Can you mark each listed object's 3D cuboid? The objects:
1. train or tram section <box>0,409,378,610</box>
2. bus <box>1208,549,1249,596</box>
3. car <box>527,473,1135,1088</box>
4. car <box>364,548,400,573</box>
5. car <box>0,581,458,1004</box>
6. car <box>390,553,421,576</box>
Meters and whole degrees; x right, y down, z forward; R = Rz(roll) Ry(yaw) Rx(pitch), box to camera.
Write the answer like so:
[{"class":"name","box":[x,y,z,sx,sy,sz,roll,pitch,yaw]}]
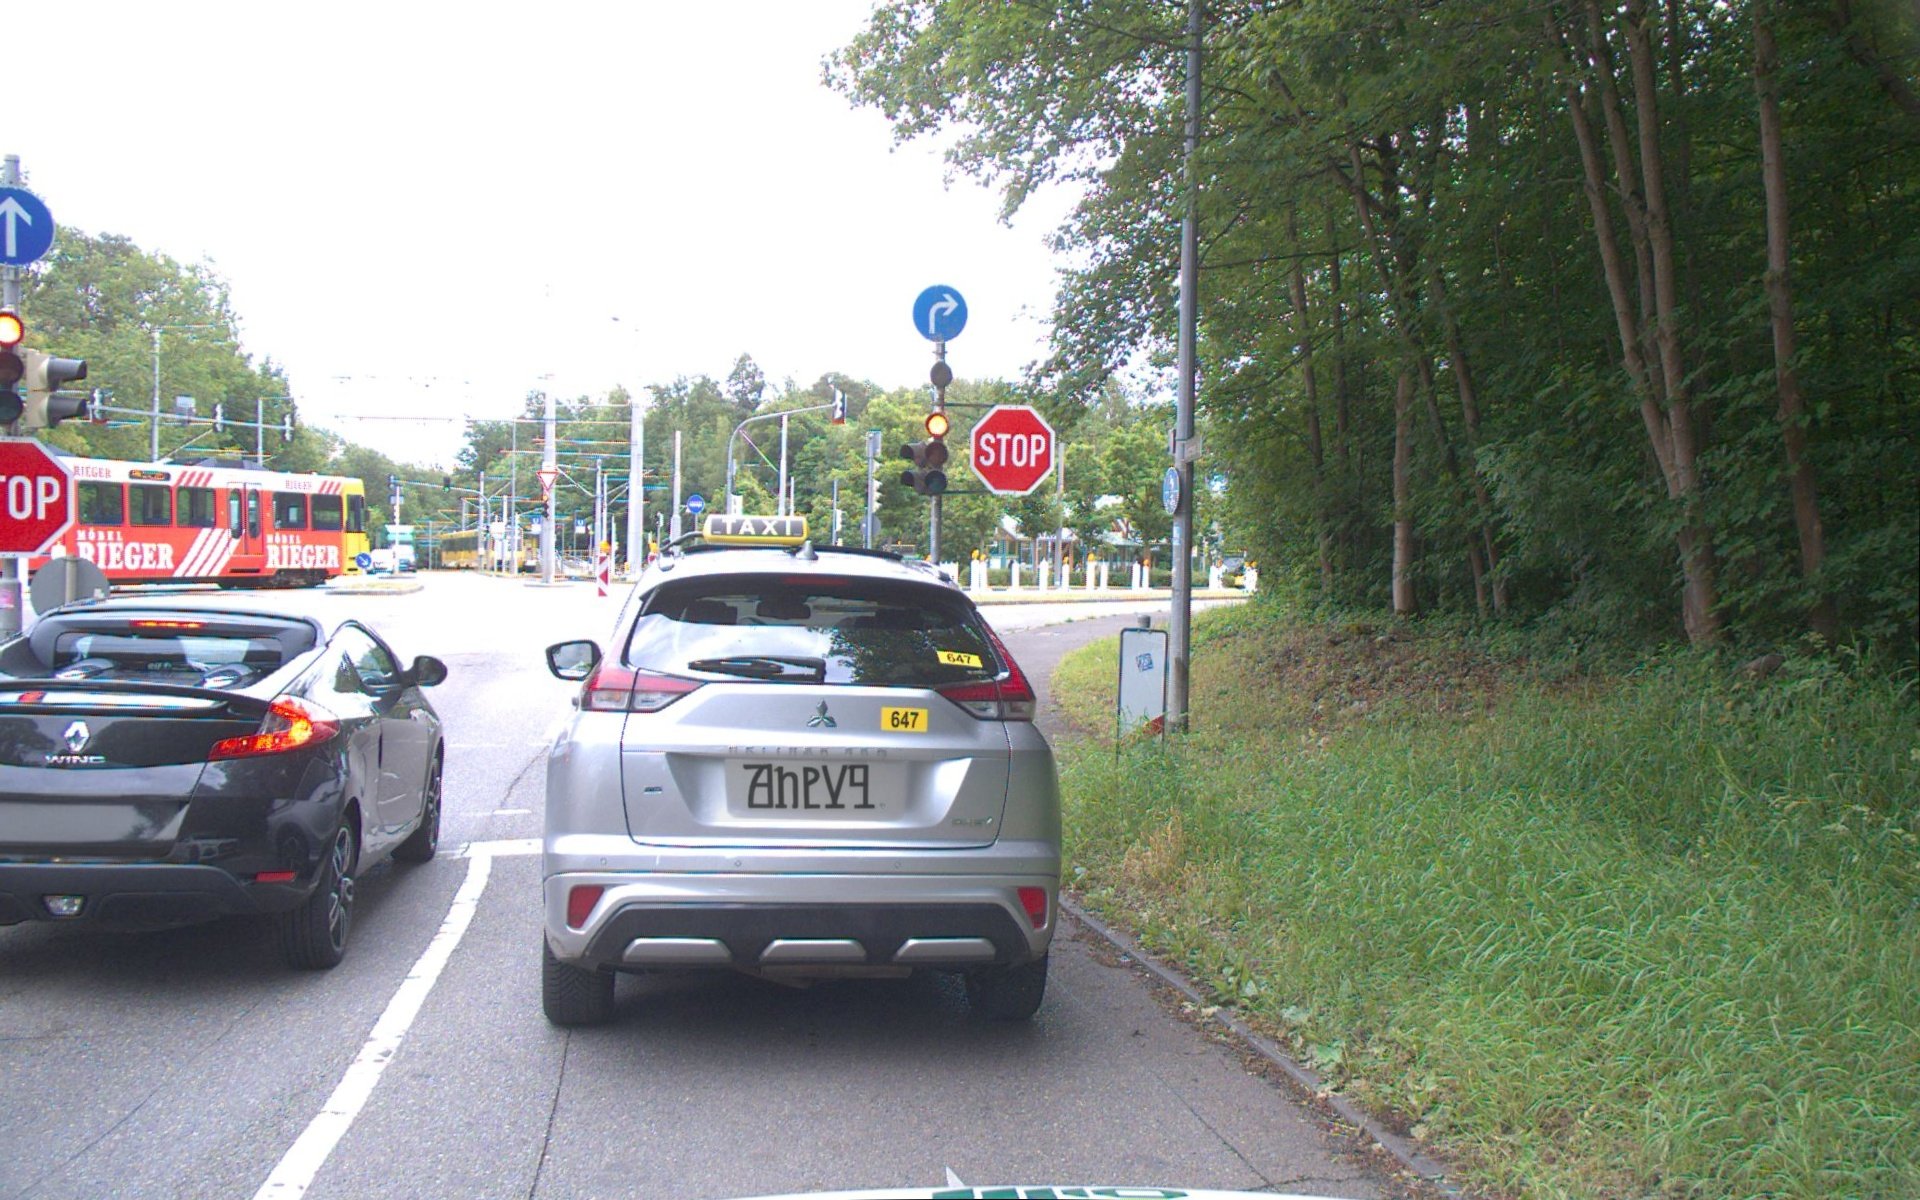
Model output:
[{"class":"train or tram section","box":[-22.756,-2.151,44.823,2.884,4.732,18.556,1,0,16]},{"class":"bus","box":[22.063,-2.312,136.386,2.761,3.665,12.815,1,2,7]},{"class":"car","box":[-0.649,0.518,6.788,1.741,1.778,3.773,2,1,-9]},{"class":"car","box":[-37.130,-2.530,106.289,1.930,1.568,4.378,1,1,-16]},{"class":"car","box":[-3.315,0.628,7.299,1.742,1.385,3.467,0,1,-11]},{"class":"car","box":[-40.006,-2.557,119.406,1.930,1.567,4.292,1,1,-16]}]
